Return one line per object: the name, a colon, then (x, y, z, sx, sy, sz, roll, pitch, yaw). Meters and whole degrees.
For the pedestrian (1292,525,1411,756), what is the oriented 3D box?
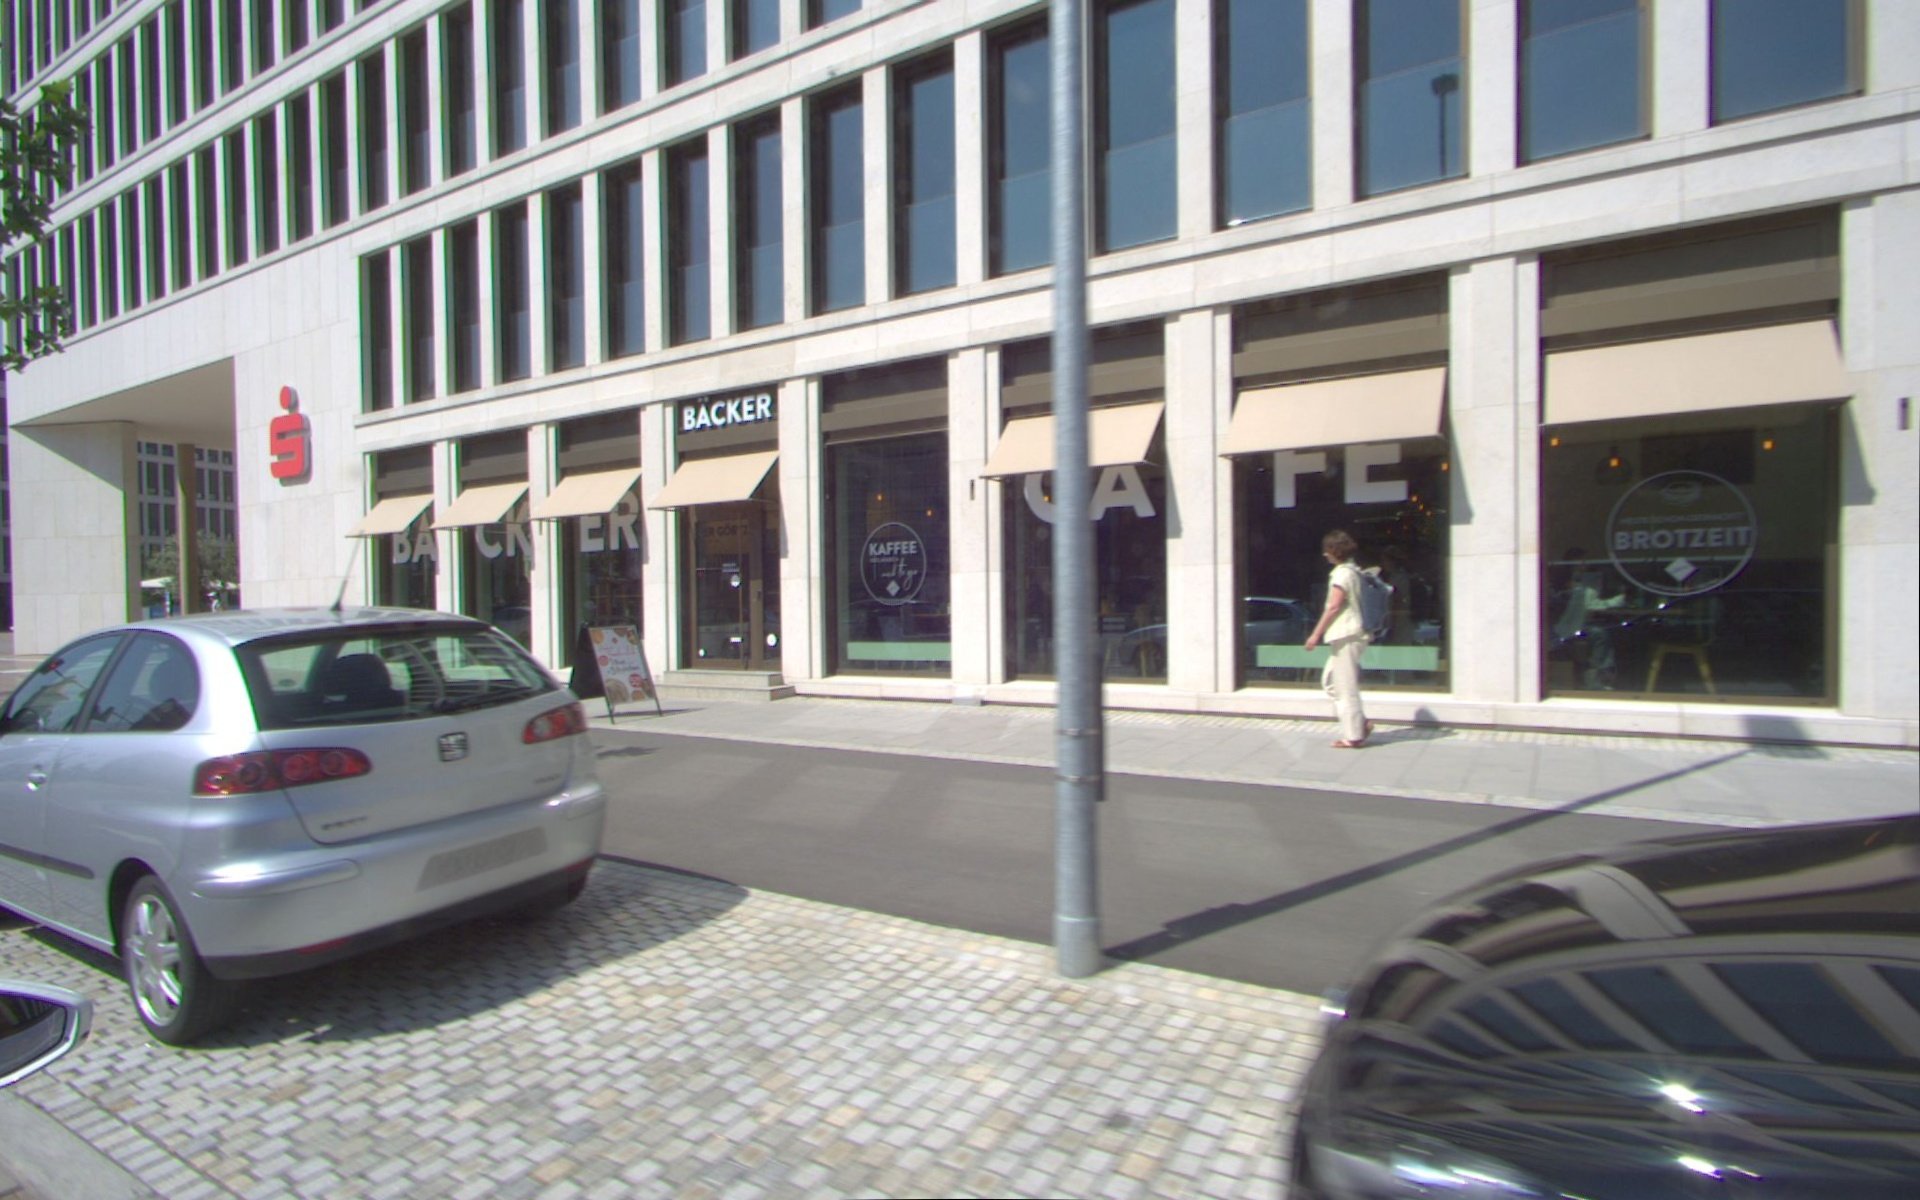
pedestrian: (3.187, 0.313, 8.139, 0.802, 1.765, 0.626, 0, 1, 32)

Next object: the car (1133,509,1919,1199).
car: (2.322, 0.657, 0.944, 3.919, 1.494, 1.735, -1, 0, 28)

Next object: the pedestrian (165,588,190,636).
pedestrian: (-33.689, 0.518, 43.108, 0.613, 2.040, 0.642, 0, 1, 32)

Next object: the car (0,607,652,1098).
car: (-3.343, 0.765, 4.629, 3.760, 1.406, 1.601, 0, 1, 32)
